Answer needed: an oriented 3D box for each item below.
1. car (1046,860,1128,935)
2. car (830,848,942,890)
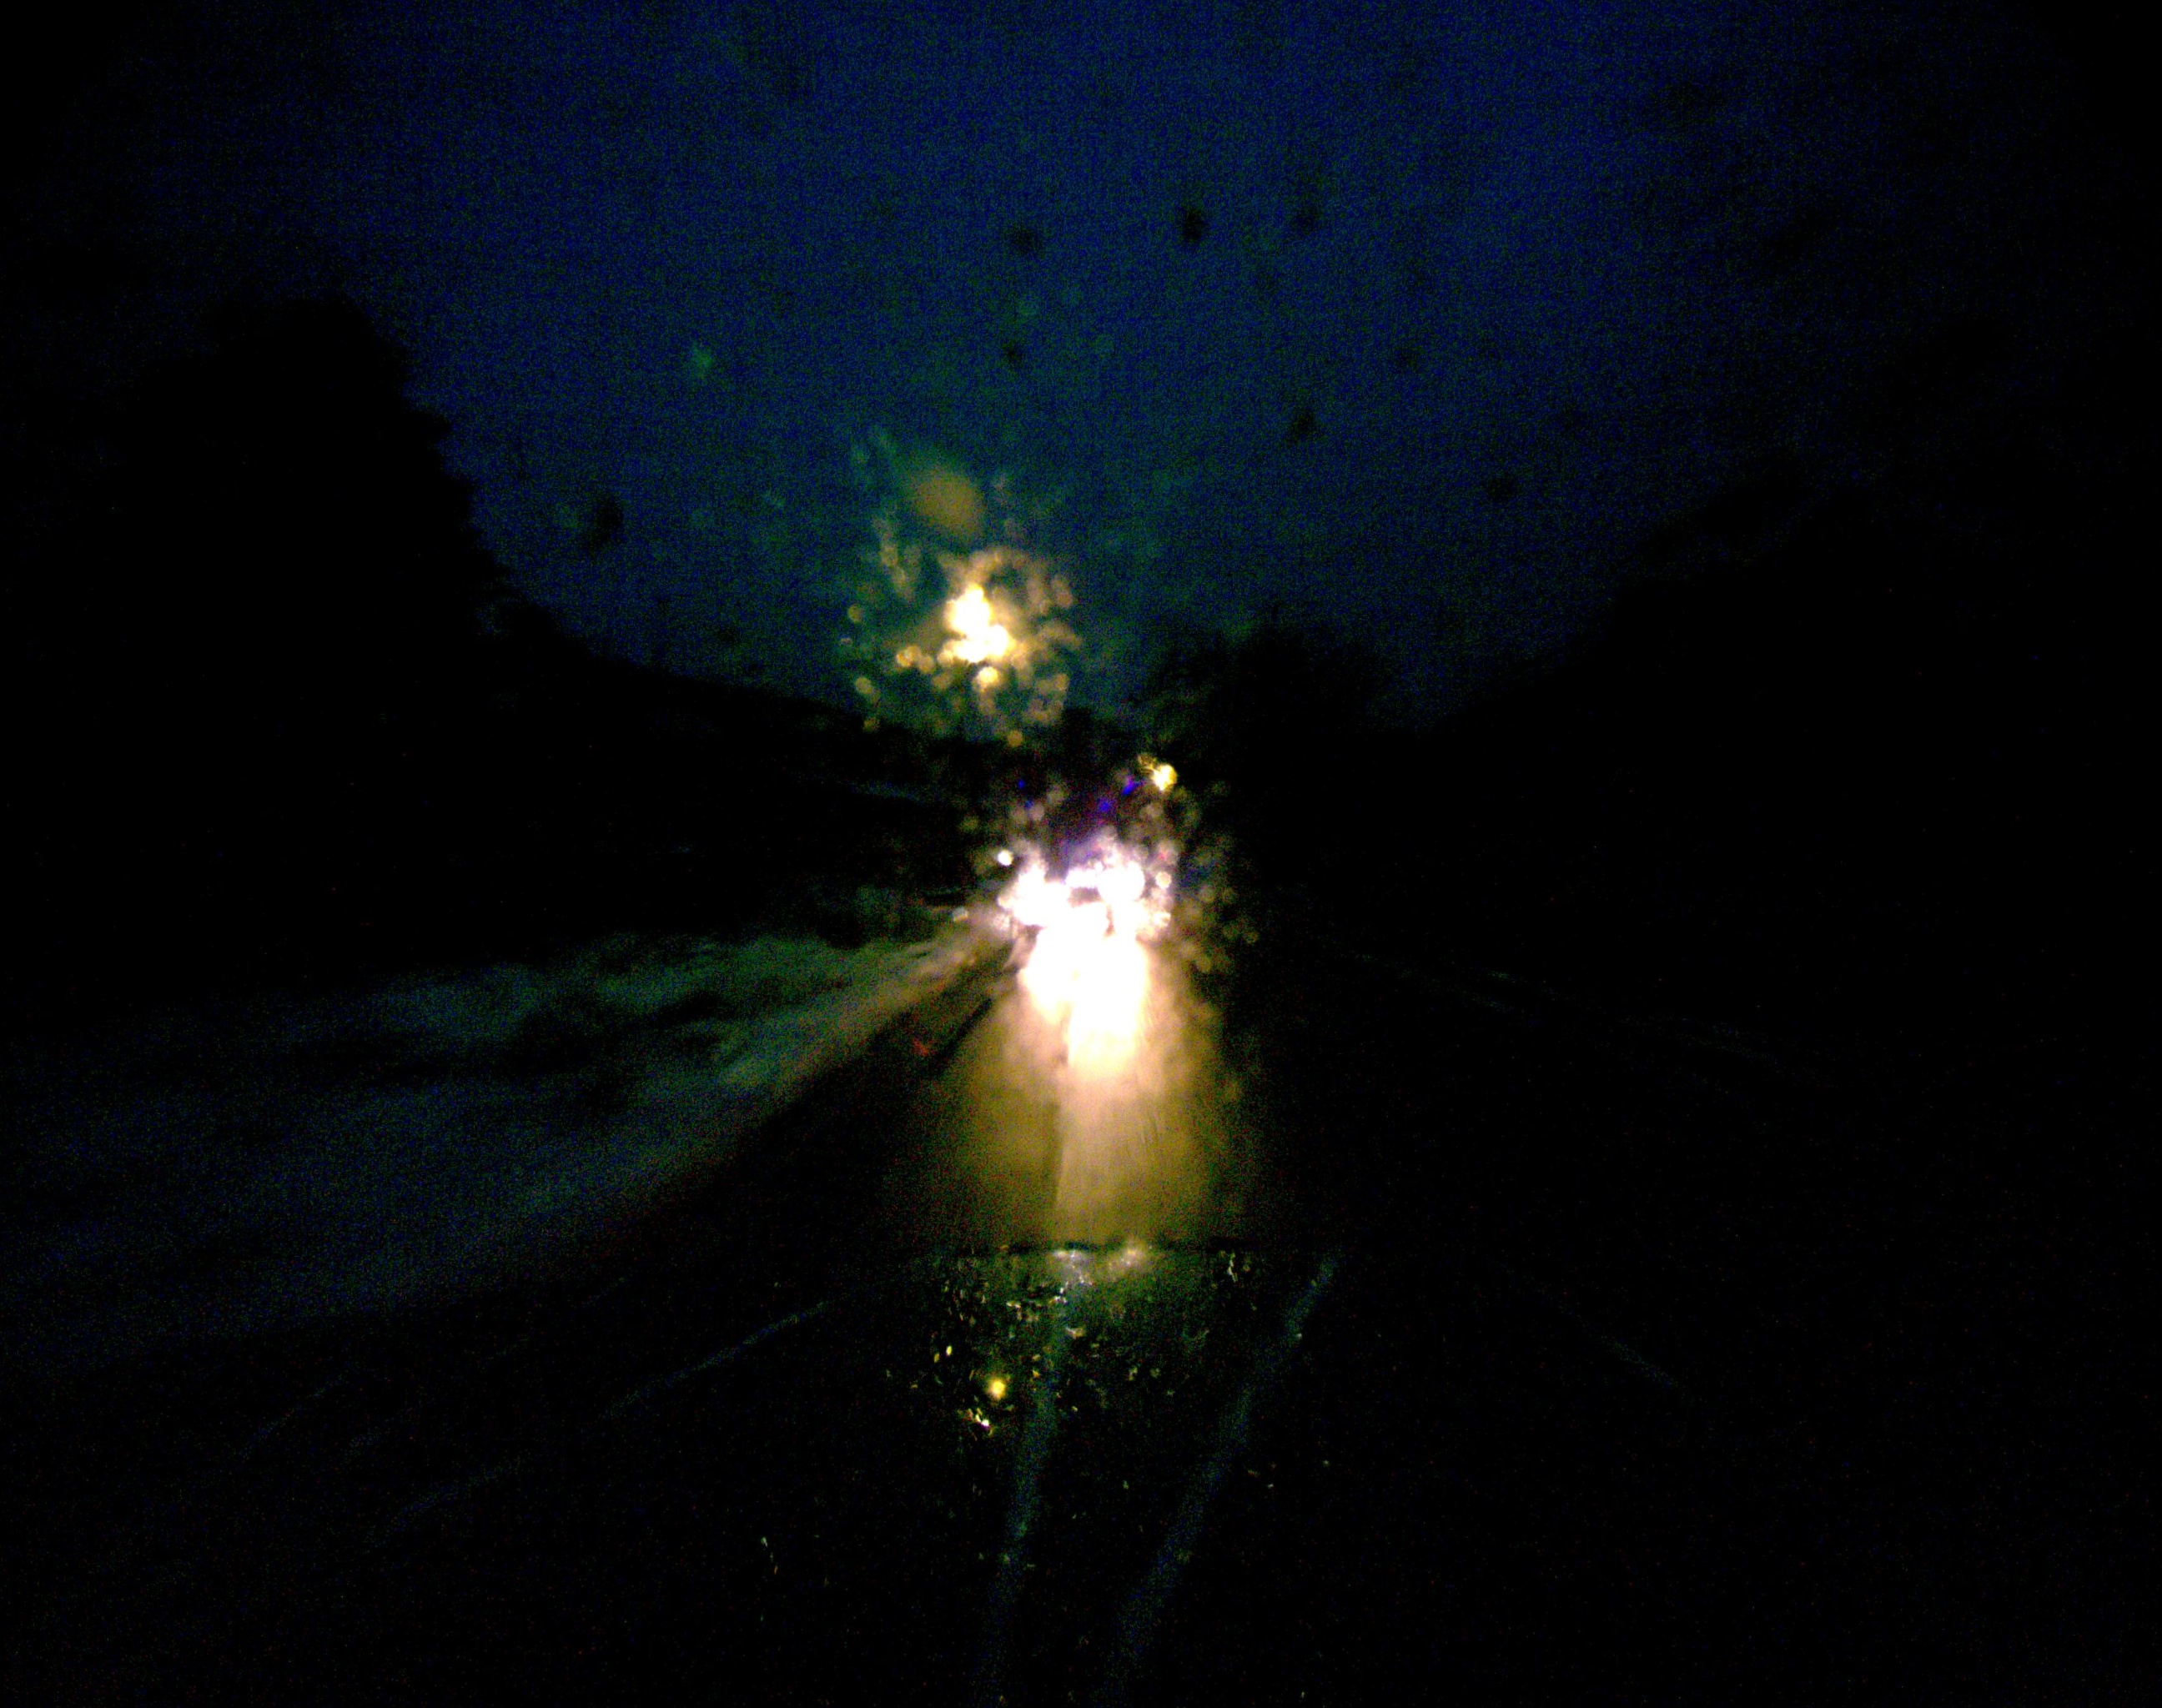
[{"bbox_3d":[0.147,0.914,17.392,1.649,1.446,3.680,1,1,1],"label":"car"},{"bbox_3d":[-8.606,0.649,33.686,4.403,1.647,1.864,2,-1,9],"label":"car"}]
